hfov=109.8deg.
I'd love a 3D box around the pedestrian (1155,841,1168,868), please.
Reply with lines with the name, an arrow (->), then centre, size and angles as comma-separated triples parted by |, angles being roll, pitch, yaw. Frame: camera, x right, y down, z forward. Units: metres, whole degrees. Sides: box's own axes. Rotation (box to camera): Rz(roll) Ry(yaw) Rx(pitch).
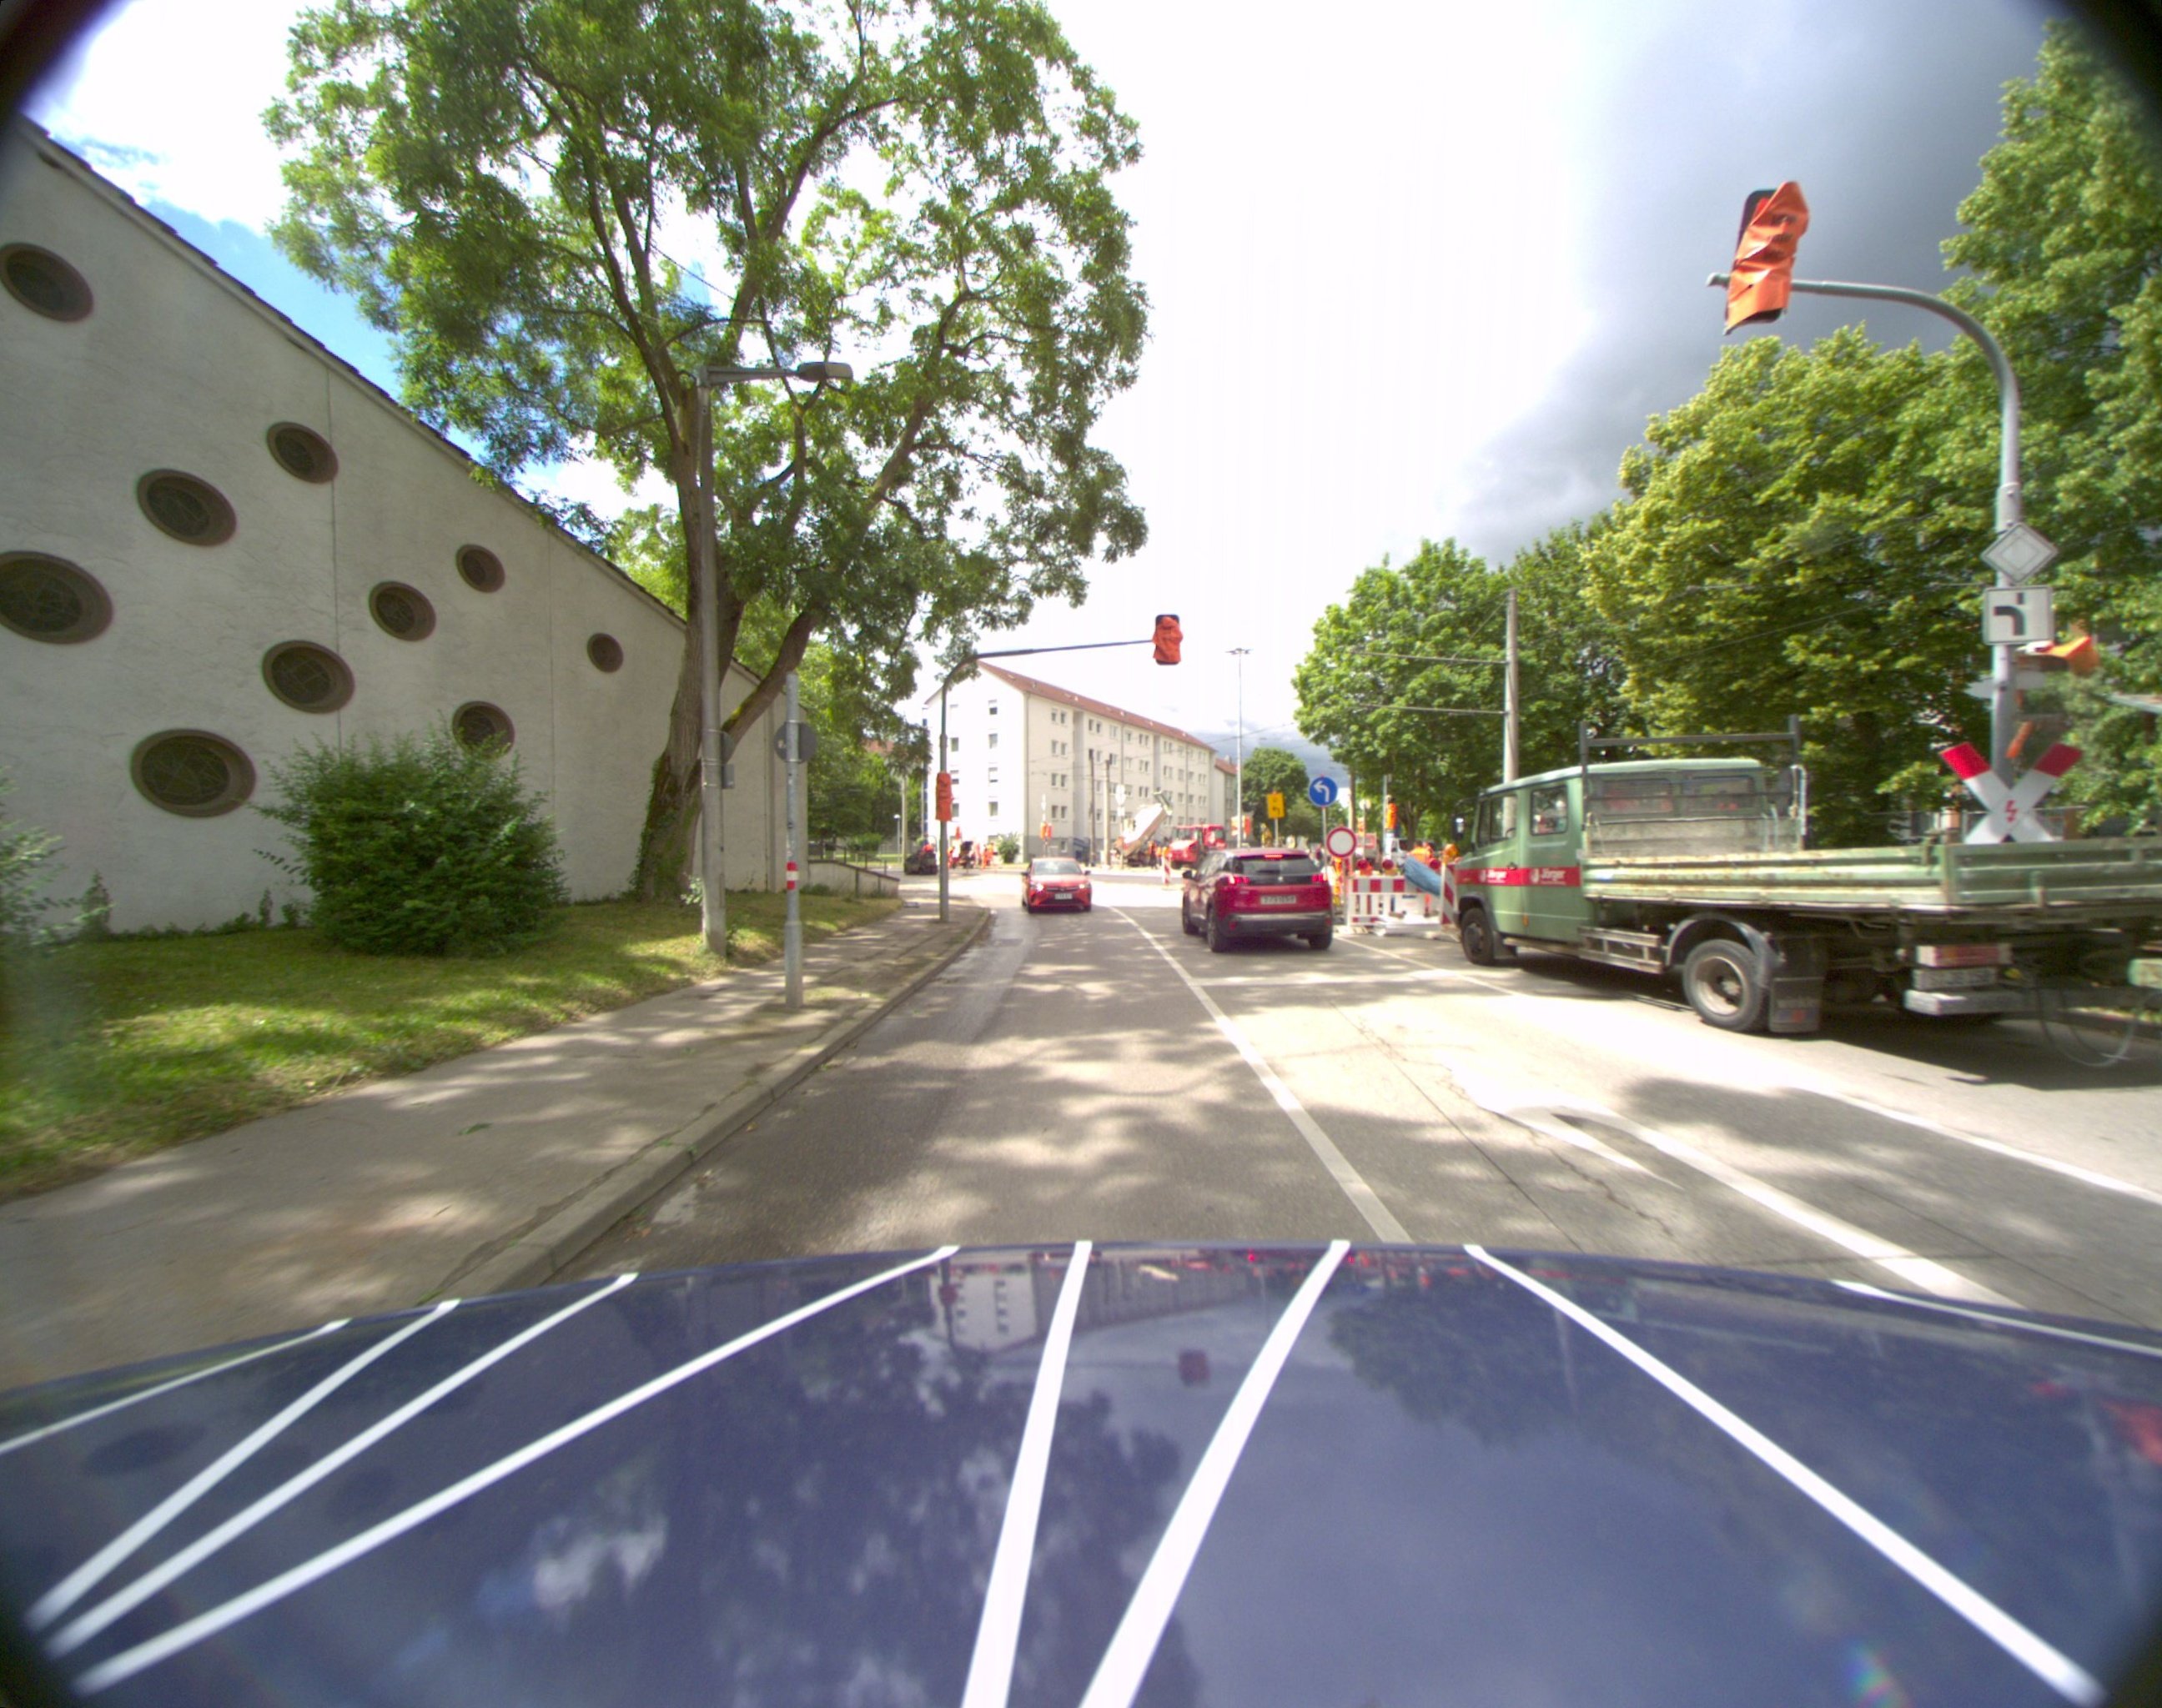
pedestrian -> 5.201, 0.036, 49.329 | 0.611, 1.778, 0.583 | -1, 0, 32

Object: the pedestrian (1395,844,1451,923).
pedestrian -> 7.464, 0.618, 16.604 | 0.707, 1.659, 0.826 | -2, 3, -21

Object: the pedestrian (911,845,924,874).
pedestrian -> -9.729, 0.333, 45.254 | 0.557, 1.673, 0.471 | 0, 3, 32

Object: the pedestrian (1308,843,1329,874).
pedestrian -> 12.873, 0.253, 41.210 | 0.872, 1.650, 0.930 | -1, 1, 33

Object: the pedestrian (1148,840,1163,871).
pedestrian -> 4.483, 0.102, 45.869 | 0.796, 1.822, 0.971 | -1, 2, -1

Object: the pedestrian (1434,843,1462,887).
pedestrian -> 13.001, 0.383, 26.926 | 0.839, 1.524, 0.909 | 0, 1, 23

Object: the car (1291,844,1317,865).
car -> 22.746, 0.067, 77.323 | 1.995, 2.002, 5.918 | 0, 0, 22

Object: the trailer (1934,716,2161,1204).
trailer -> 6.161, 0.414, 1.161 | 2.669, 2.201, 6.248 | -2, 0, 1

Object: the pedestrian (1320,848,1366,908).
pedestrian -> 6.961, 0.632, 20.177 | 0.898, 1.542, 0.766 | -1, 1, 43

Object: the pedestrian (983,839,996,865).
pedestrian -> -6.860, -0.150, 57.098 | 0.881, 1.897, 0.666 | -1, 2, -15

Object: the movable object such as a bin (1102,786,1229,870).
movable object such as a bin -> 6.014, -1.696, 53.091 | 9.052, 5.453, 2.814 | 0, 1, -33

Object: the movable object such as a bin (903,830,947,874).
movable object such as a bin -> -9.320, -0.139, 45.245 | 2.355, 2.579, 1.323 | 0, 2, 40

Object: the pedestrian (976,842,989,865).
pedestrian -> -7.462, -0.052, 57.680 | 0.881, 1.674, 0.666 | -1, 2, -18

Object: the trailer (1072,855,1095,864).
trailer -> 0.144, 0.373, 52.696 | 0.799, 0.612, 1.593 | 0, 0, -37

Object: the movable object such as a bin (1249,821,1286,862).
movable object such as a bin -> 21.514, -1.395, 87.444 | 2.819, 4.509, 6.221 | 0, 0, 26

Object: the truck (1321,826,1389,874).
truck -> 15.811, -0.229, 43.609 | 2.412, 2.553, 5.594 | 0, 1, 34

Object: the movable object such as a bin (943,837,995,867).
movable object such as a bin -> -7.748, -0.129, 52.519 | 2.959, 2.002, 2.004 | 0, 1, 38

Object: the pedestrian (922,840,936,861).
pedestrian -> -8.881, -0.187, 44.464 | 0.615, 1.209, 0.552 | 0, 1, 39

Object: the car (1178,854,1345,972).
car -> 2.834, 0.842, 12.930 | 1.847, 1.608, 4.242 | -1, 1, 1

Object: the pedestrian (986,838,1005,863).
pedestrian -> -6.320, -0.229, 56.084 | 0.872, 1.813, 1.098 | 0, 1, 29

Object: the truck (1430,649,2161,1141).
truck -> 6.253, 0.224, 7.452 | 2.669, 2.709, 6.396 | -2, 0, 1

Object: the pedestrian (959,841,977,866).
pedestrian -> -8.024, -0.033, 54.048 | 0.916, 1.706, 0.861 | 0, 1, 40

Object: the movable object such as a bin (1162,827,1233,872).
movable object such as a bin -> 7.331, -0.323, 47.365 | 2.110, 2.654, 5.598 | 1, 2, 35

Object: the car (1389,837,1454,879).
car -> 16.295, 0.173, 36.631 | 1.996, 1.876, 5.256 | 0, 0, 14

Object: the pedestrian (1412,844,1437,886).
pedestrian -> 12.617, 0.390, 27.921 | 0.796, 1.532, 0.763 | 0, 1, 23

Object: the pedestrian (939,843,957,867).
pedestrian -> -9.448, 0.082, 54.069 | 0.916, 1.706, 0.755 | 0, 1, 34

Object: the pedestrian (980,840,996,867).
pedestrian -> -6.335, -0.022, 51.934 | 0.767, 1.829, 0.785 | 0, 1, 27

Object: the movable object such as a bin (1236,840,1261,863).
movable object such as a bin -> 17.476, -0.245, 79.110 | 1.995, 2.395, 4.006 | 0, 0, 21

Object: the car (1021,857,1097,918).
car -> -0.709, 0.854, 21.189 | 1.770, 1.425, 3.836 | -2, 0, -6
